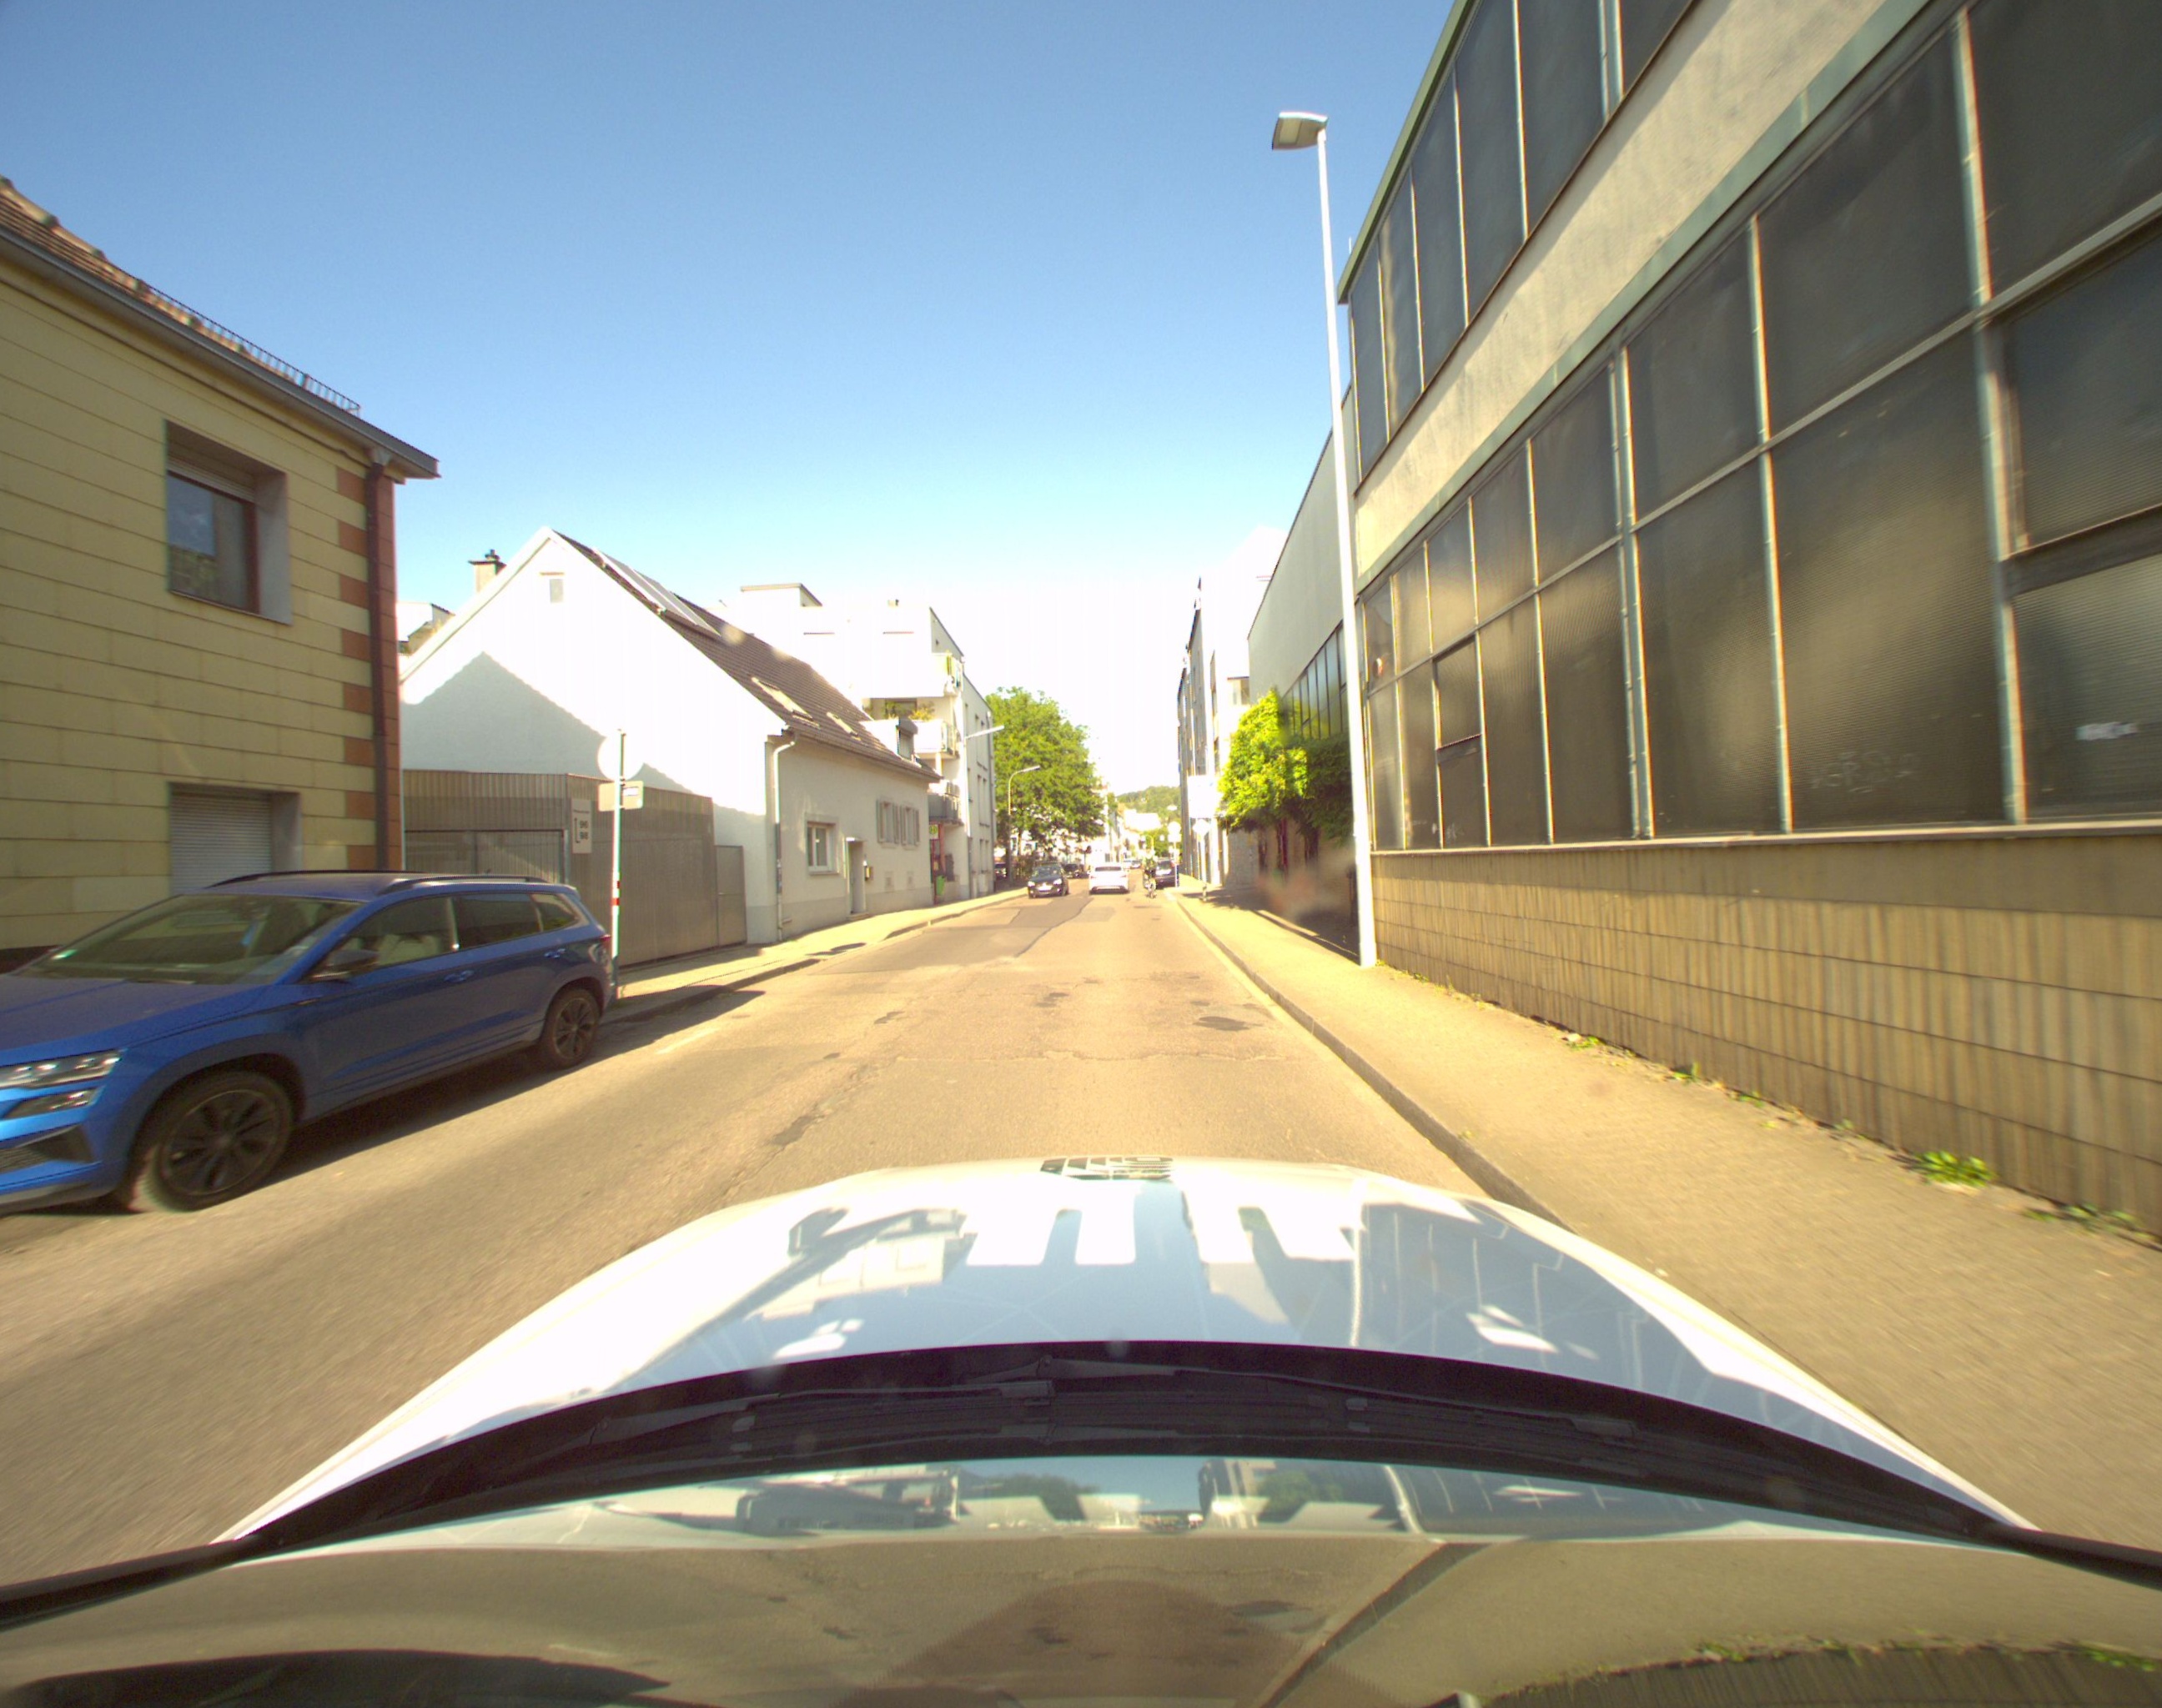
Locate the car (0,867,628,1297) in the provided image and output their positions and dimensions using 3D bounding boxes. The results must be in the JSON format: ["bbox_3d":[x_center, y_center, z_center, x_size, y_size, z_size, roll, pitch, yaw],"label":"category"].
[{"bbox_3d":[-5.114,0.939,5.350,1.802,1.587,4.195,0,1,2],"label":"car"}]

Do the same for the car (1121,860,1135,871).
[{"bbox_3d":[7.805,1.865,134.449,1.935,1.587,4.629,-4,-1,6],"label":"car"}]

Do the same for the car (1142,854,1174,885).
[{"bbox_3d":[4.467,0.875,47.685,1.657,1.702,3.916,-1,0,3],"label":"car"}]

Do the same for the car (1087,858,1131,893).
[{"bbox_3d":[1.266,0.977,37.244,1.835,1.491,4.145,-1,-1,1],"label":"car"}]

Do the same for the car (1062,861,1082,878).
[{"bbox_3d":[-0.819,1.453,79.018,1.697,1.575,3.916,-1,0,2],"label":"car"}]

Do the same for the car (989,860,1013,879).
[{"bbox_3d":[-7.582,1.466,77.696,1.783,1.689,3.965,1,0,1],"label":"car"}]

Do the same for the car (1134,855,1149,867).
[{"bbox_3d":[8.818,1.015,118.412,1.847,1.791,4.607,-1,0,0],"label":"car"}]

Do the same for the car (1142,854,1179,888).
[{"bbox_3d":[4.157,0.879,43.162,1.623,1.587,4.071,-4,-1,2],"label":"car"}]

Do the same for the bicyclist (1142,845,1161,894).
[{"bbox_3d":[2.679,0.591,31.040,0.695,1.790,1.041,-1,-1,3],"label":"bicyclist"}]

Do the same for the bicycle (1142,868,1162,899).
[{"bbox_3d":[2.695,1.095,31.164,0.695,1.130,2.405,-1,-1,4],"label":"bicycle"}]

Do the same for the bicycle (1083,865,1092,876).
[{"bbox_3d":[0.765,1.850,94.275,0.832,1.217,2.843,-1,0,2],"label":"bicycle"}]

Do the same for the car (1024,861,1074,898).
[{"bbox_3d":[-1.401,1.159,37.464,1.834,1.491,4.147,-4,-1,3],"label":"car"}]

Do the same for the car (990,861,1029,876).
[{"bbox_3d":[-7.704,1.558,87.774,3.879,1.575,1.713,-1,-1,7],"label":"car"}]

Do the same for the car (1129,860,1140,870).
[{"bbox_3d":[8.474,1.731,128.515,1.656,1.575,3.920,-1,0,6],"label":"car"}]
